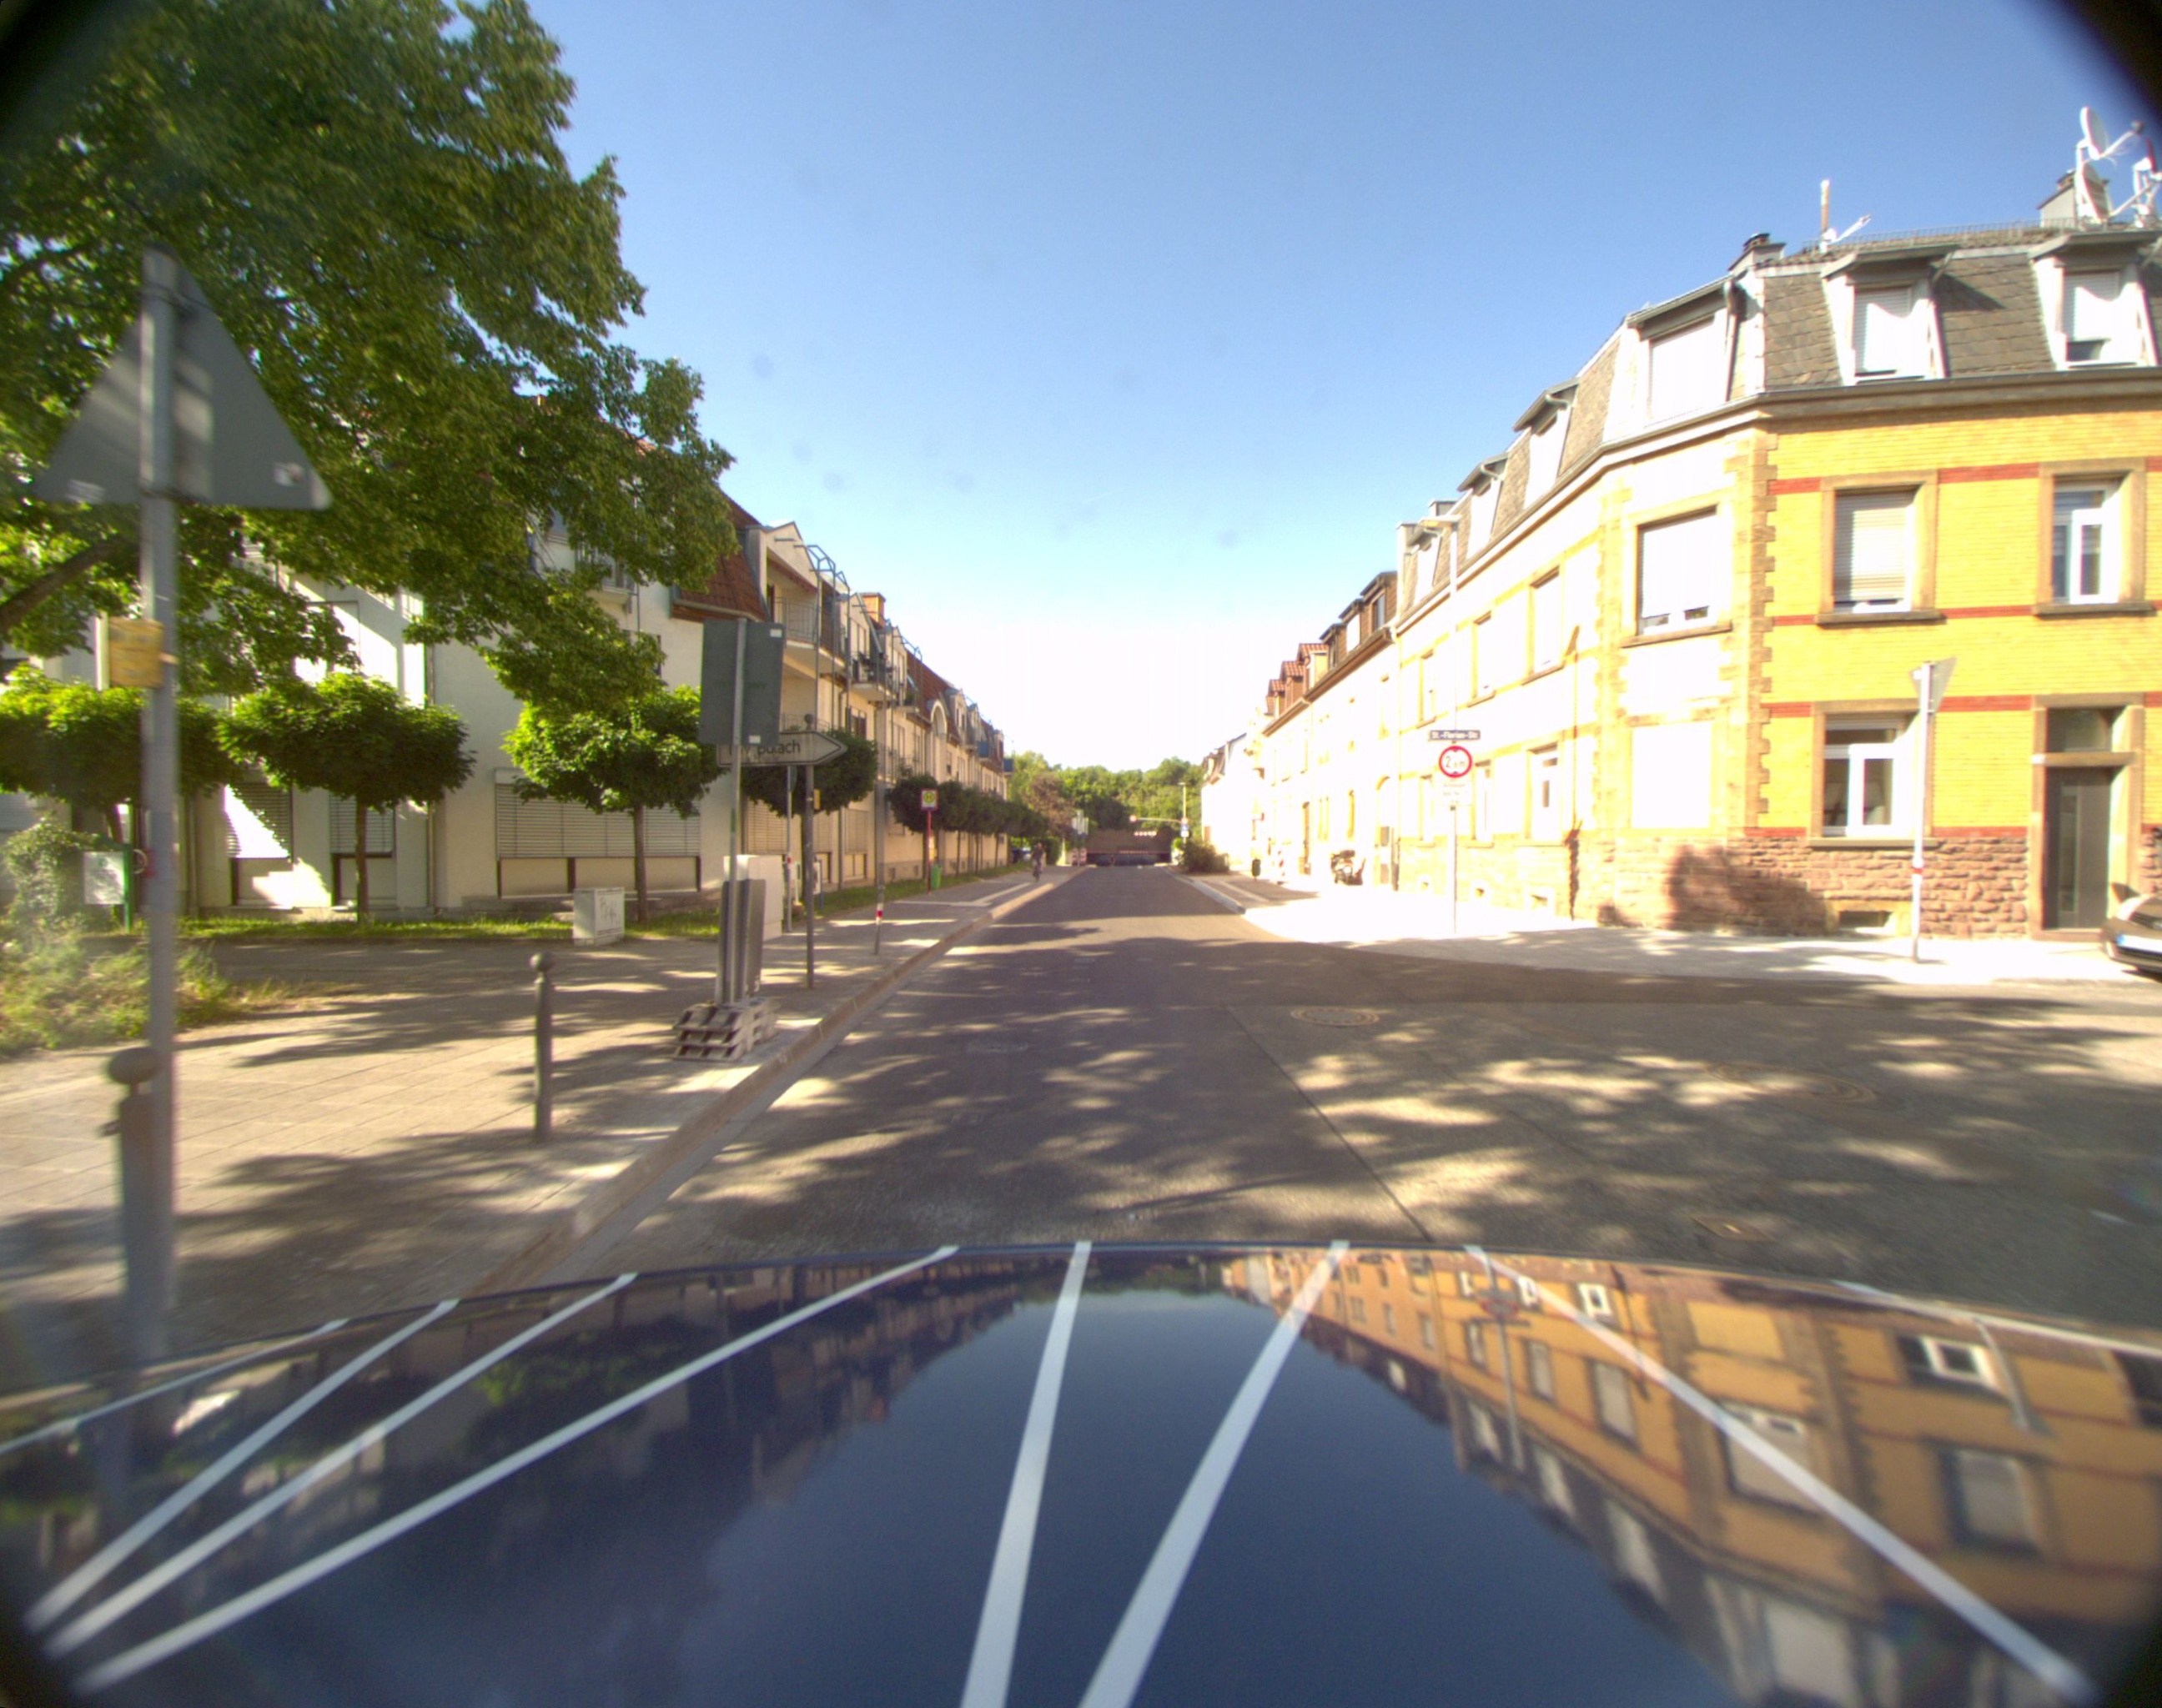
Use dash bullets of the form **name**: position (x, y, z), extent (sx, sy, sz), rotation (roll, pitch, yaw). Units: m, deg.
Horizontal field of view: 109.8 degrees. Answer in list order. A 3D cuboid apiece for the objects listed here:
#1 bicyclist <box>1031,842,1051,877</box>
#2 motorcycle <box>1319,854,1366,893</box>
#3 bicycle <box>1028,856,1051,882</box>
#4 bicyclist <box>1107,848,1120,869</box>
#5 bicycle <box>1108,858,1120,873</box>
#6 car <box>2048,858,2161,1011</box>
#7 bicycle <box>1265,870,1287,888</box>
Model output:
- **bicyclist**: position (-1.810, 0.237, 34.222), extent (0.668, 1.530, 0.914), rotation (4, 2, 6)
- **motorcycle**: position (9.225, 0.652, 26.868), extent (0.848, 1.245, 2.257), rotation (-2, 1, 0)
- **bicycle**: position (-1.853, 0.674, 34.176), extent (0.668, 1.058, 1.817), rotation (4, 2, 6)
- **bicyclist**: position (3.665, 0.477, 85.460), extent (1.256, 2.295, 1.243), rotation (-2, 1, 3)
- **bicycle**: position (3.690, 1.243, 85.425), extent (1.256, 1.543, 4.000), rotation (-2, 1, 3)
- **car**: position (13.317, 0.891, 7.765), extent (4.009, 1.536, 1.716), rotation (1, 4, 11)
- **bicycle**: position (7.582, 0.963, 29.588), extent (0.382, 0.606, 1.344), rotation (-2, 1, 34)
